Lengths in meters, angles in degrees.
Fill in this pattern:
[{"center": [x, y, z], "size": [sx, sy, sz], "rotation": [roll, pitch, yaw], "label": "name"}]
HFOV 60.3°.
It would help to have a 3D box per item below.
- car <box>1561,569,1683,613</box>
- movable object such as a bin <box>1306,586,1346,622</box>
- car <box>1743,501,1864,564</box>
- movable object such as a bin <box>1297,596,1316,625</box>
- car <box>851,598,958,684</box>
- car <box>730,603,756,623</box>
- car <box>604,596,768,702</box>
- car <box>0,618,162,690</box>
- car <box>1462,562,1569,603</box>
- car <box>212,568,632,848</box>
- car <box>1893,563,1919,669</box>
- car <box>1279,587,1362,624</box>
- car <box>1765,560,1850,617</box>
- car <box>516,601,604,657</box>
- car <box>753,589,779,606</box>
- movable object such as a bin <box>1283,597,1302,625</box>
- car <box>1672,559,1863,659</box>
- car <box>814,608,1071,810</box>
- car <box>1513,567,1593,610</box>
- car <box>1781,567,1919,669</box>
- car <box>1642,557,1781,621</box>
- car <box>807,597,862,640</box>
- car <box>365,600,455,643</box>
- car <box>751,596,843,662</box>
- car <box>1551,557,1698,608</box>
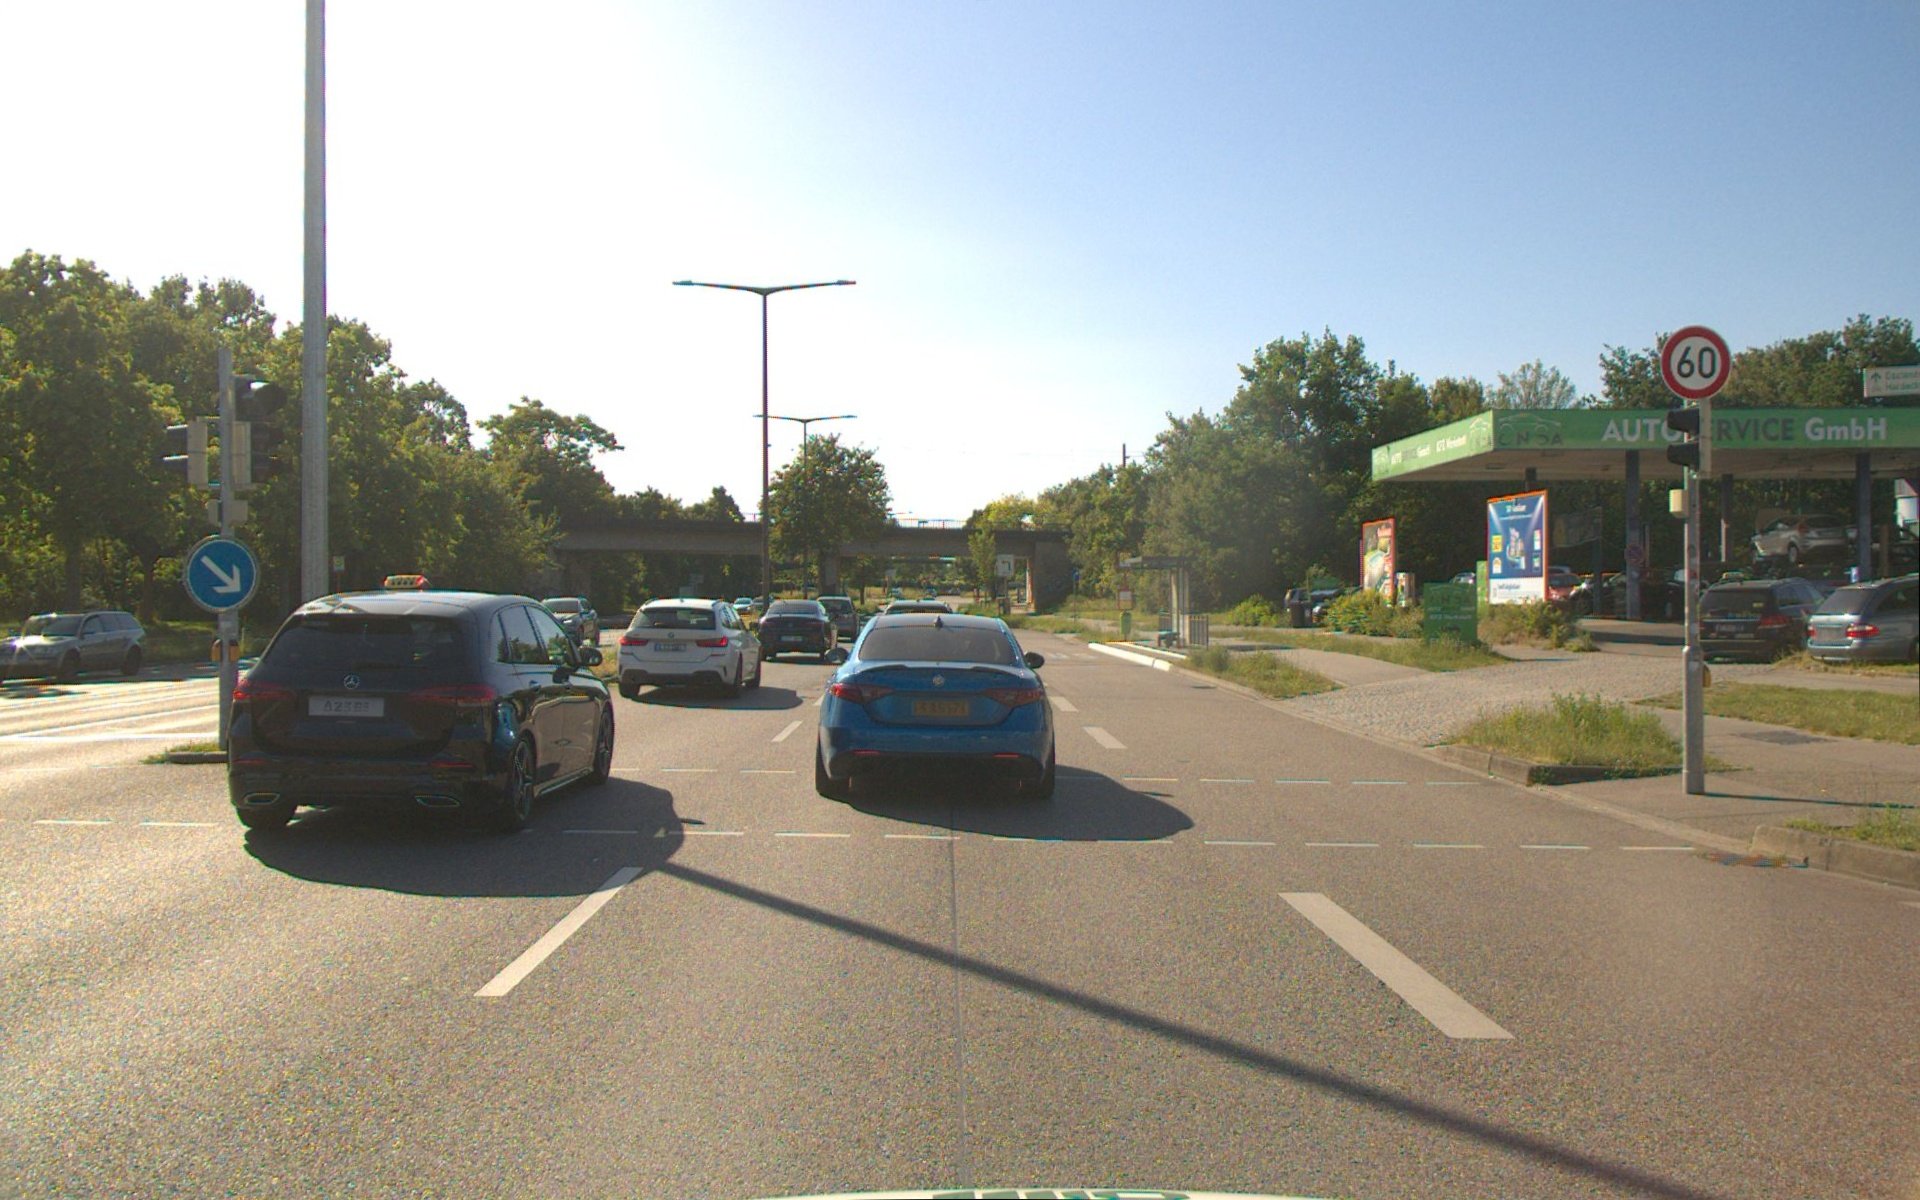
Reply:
[{"center": [24.911, -0.349, 62.342], "size": [3.909, 1.543, 1.696], "rotation": [-1, -1, -5], "label": "car"}, {"center": [14.630, 0.153, 66.175], "size": [0.981, 1.453, 1.240], "rotation": [0, 0, -44], "label": "movable object such as a bin"}, {"center": [26.623, -2.103, 52.348], "size": [1.879, 1.786, 3.778], "rotation": [-1, -1, 0], "label": "car"}, {"center": [13.989, 0.429, 66.813], "size": [0.577, 1.140, 0.502], "rotation": [0, 0, -43], "label": "movable object such as a bin"}, {"center": [-1.010, 0.739, 31.276], "size": [1.845, 1.479, 4.525], "rotation": [1, 0, -1], "label": "car"}, {"center": [-17.618, 1.050, 134.676], "size": [1.608, 1.476, 4.110], "rotation": [-2, 0, -1], "label": "car"}, {"center": [-4.173, 0.712, 25.867], "size": [1.845, 1.479, 4.525], "rotation": [1, 0, -1], "label": "car"}, {"center": [-19.238, 1.125, 35.584], "size": [1.953, 1.400, 4.622], "rotation": [-1, 0, -1], "label": "car"}, {"center": [23.706, -0.733, 70.673], "size": [3.954, 1.558, 1.734], "rotation": [-3, 0, 0], "label": "car"}, {"center": [-3.592, 0.651, 11.878], "size": [1.673, 1.626, 4.223], "rotation": [1, 0, -1], "label": "car"}, {"center": [15.399, 0.000, 22.897], "size": [3.837, 1.477, 1.726], "rotation": [-8, -1, 10], "label": "car"}, {"center": [15.694, 0.235, 72.096], "size": [3.216, 1.512, 1.772], "rotation": [1, 0, 0], "label": "car"}, {"center": [22.735, -0.317, 44.321], "size": [1.657, 1.445, 3.693], "rotation": [1, 1, 33], "label": "car"}, {"center": [-12.971, 0.913, 53.849], "size": [1.836, 1.671, 4.170], "rotation": [-2, 0, -1], "label": "car"}, {"center": [-17.037, -0.207, 145.632], "size": [1.780, 1.460, 4.629], "rotation": [-2, 0, -1], "label": "car"}, {"center": [13.483, 0.440, 67.064], "size": [0.577, 1.093, 0.502], "rotation": [0, 0, -43], "label": "movable object such as a bin"}, {"center": [14.955, 0.131, 30.507], "size": [1.867, 1.557, 4.807], "rotation": [-3, 0, 42], "label": "car"}, {"center": [-0.159, 0.800, 14.099], "size": [1.845, 1.431, 4.223], "rotation": [1, 0, -1], "label": "car"}, {"center": [23.684, -0.421, 66.165], "size": [1.678, 1.635, 4.135], "rotation": [1, 0, -1], "label": "car"}, {"center": [15.259, 0.171, 26.127], "size": [3.535, 1.312, 1.841], "rotation": [-8, -1, 0], "label": "car"}, {"center": [20.712, -0.284, 45.766], "size": [1.953, 1.676, 3.999], "rotation": [1, 0, -1], "label": "car"}, {"center": [-4.530, 0.641, 60.181], "size": [1.743, 1.479, 4.181], "rotation": [-1, 0, -1], "label": "car"}, {"center": [-20.141, 0.788, 60.788], "size": [1.953, 1.500, 4.195], "rotation": [-1, 0, -1], "label": "car"}, {"center": [-3.921, 0.682, 40.433], "size": [1.845, 1.479, 4.525], "rotation": [1, 0, -1], "label": "car"}, {"center": [21.181, -0.548, 52.817], "size": [1.979, 1.512, 3.947], "rotation": [1, 0, -37], "label": "car"}]
